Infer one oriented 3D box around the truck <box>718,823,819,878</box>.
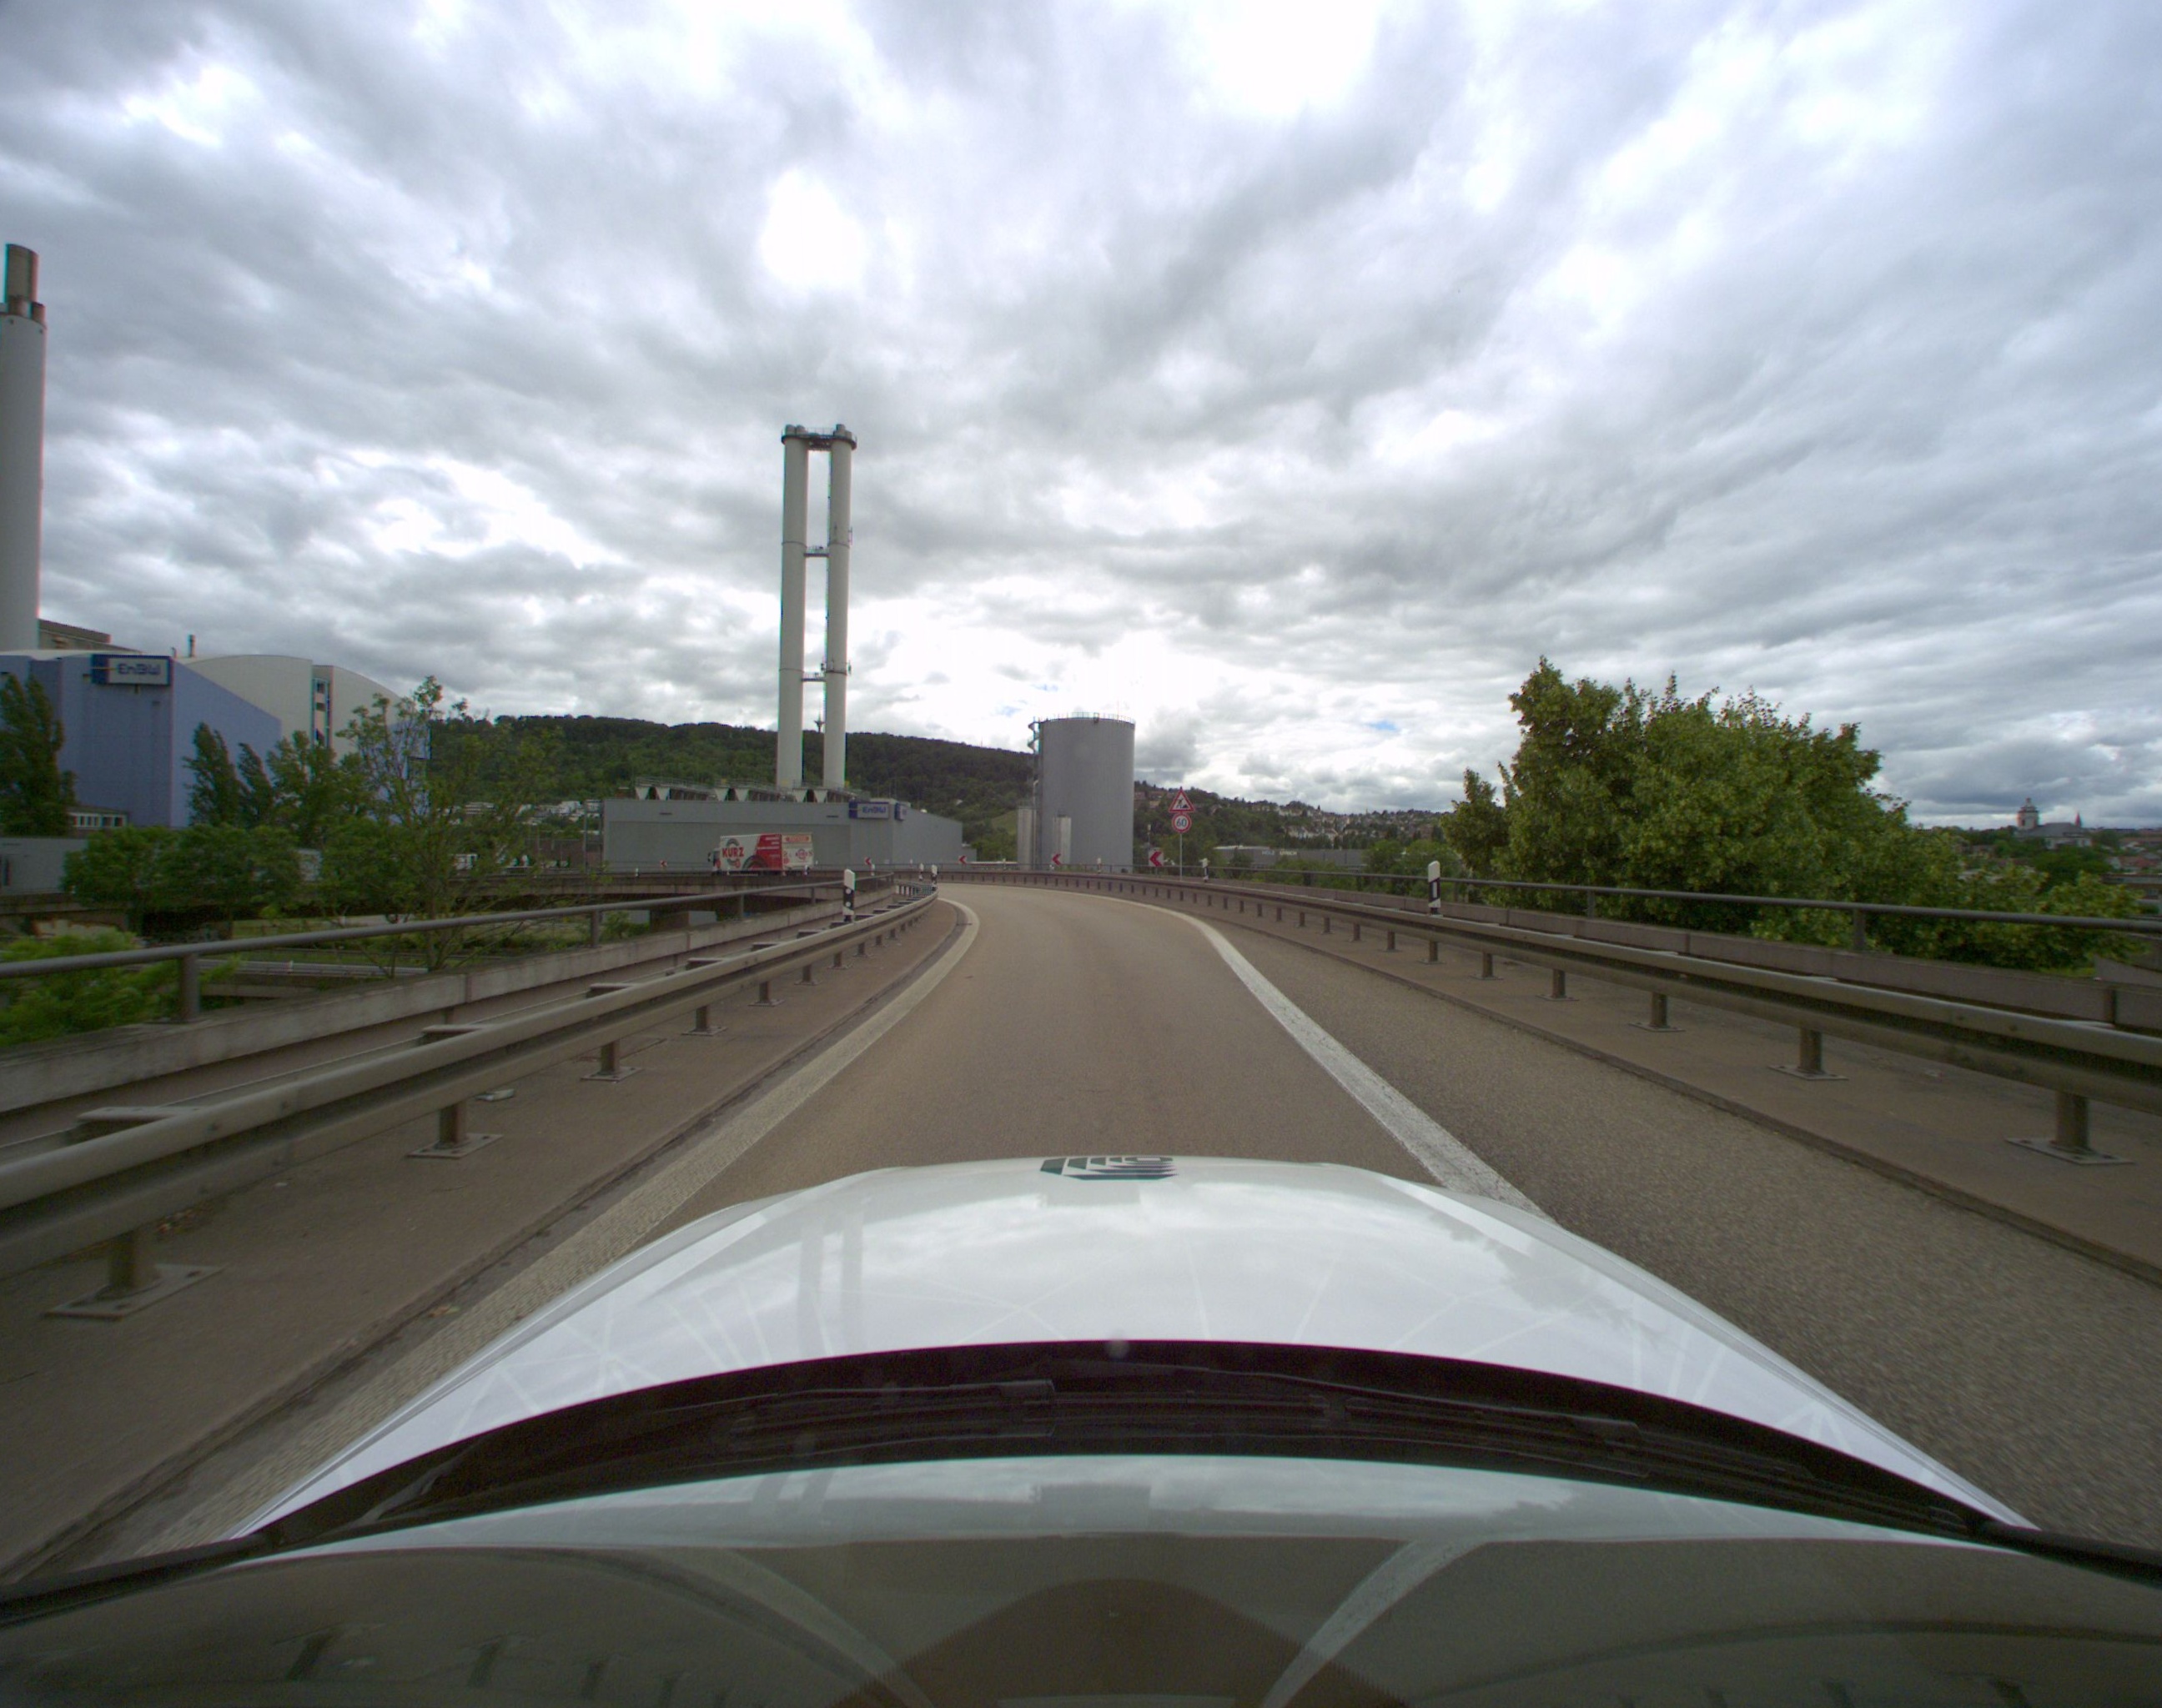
[{"bbox_3d":[-22.436,-0.202,58.258,7.824,3.673,3.080,-1,-1,37],"label":"truck"}]
